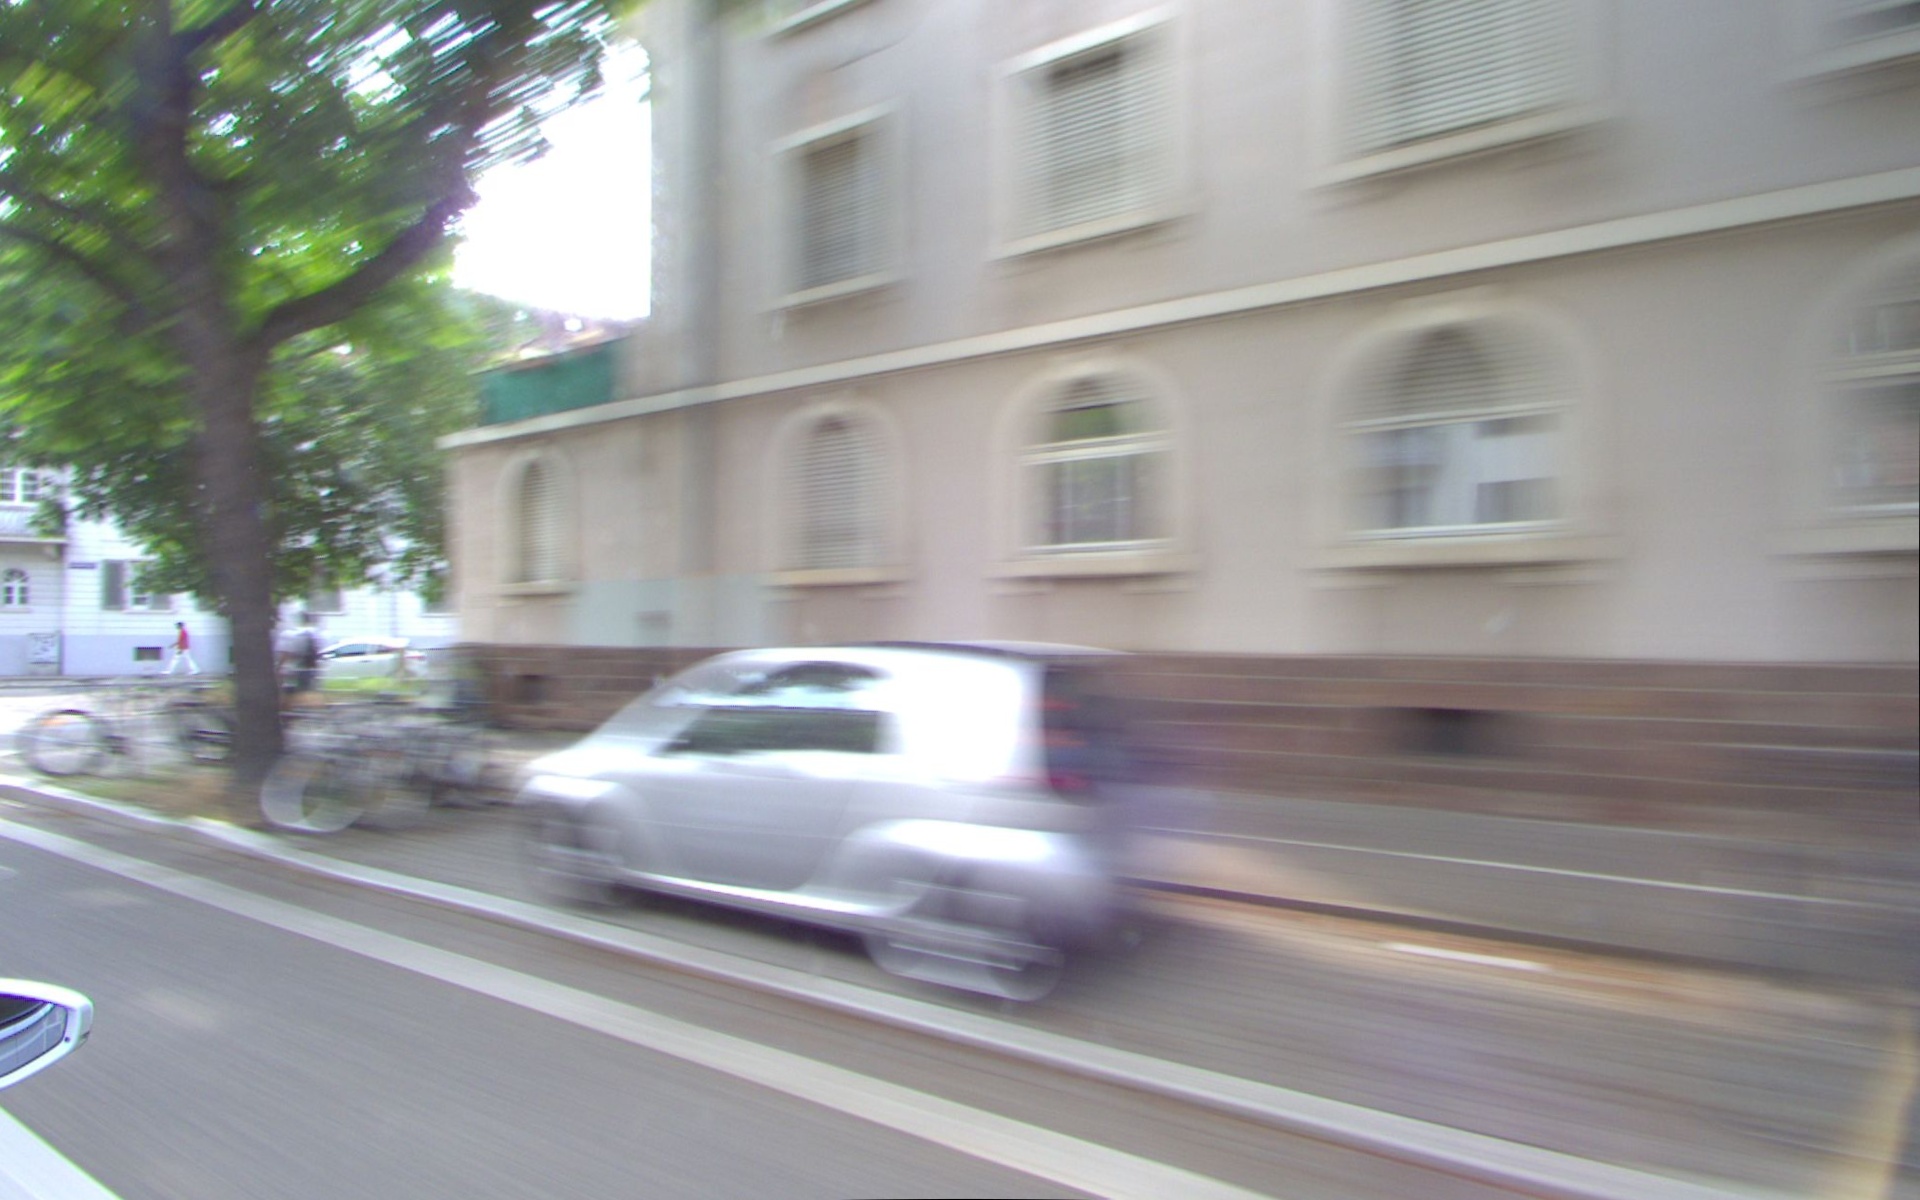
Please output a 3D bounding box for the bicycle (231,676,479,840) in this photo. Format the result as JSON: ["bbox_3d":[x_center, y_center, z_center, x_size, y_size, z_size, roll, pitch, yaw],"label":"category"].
[{"bbox_3d":[-4.642,1.169,7.796,0.344,1.084,1.642,0,-2,36],"label":"bicycle"}]

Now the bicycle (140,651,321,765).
[{"bbox_3d":[-8.076,1.171,11.097,1.802,1.173,0.586,0,-1,14],"label":"bicycle"}]

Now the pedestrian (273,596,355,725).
[{"bbox_3d":[-9.660,0.886,14.983,1.015,1.857,0.617,0,-1,30],"label":"pedestrian"}]

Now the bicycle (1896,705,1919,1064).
[{"bbox_3d":[3.366,0.964,3.137,0.512,1.167,1.482,0,-2,39],"label":"bicycle"}]

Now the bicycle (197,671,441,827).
[{"bbox_3d":[-5.097,1.139,8.074,0.344,1.084,1.642,0,-2,36],"label":"bicycle"}]

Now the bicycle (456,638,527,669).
[{"bbox_3d":[-18.689,2.116,39.976,2.486,1.163,0.677,2,1,-38],"label":"bicycle"}]

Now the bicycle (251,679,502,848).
[{"bbox_3d":[-4.359,1.174,7.602,0.344,1.084,1.643,0,-2,35],"label":"bicycle"}]

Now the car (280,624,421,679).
[{"bbox_3d":[-18.561,1.542,30.622,3.570,1.518,1.721,1,1,-31],"label":"car"}]

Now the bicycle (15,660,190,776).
[{"bbox_3d":[-8.756,1.175,10.269,0.471,1.080,1.266,0,-2,31],"label":"bicycle"}]

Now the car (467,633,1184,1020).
[{"bbox_3d":[-0.871,0.928,5.561,3.842,1.463,1.582,-1,-2,32],"label":"car"}]

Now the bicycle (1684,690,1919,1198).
[{"bbox_3d":[2.771,0.956,3.322,0.512,1.236,1.482,-1,-2,38],"label":"bicycle"}]

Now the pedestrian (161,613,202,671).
[{"bbox_3d":[-26.965,1.455,34.689,0.964,1.961,0.897,2,-2,-31],"label":"pedestrian"}]
